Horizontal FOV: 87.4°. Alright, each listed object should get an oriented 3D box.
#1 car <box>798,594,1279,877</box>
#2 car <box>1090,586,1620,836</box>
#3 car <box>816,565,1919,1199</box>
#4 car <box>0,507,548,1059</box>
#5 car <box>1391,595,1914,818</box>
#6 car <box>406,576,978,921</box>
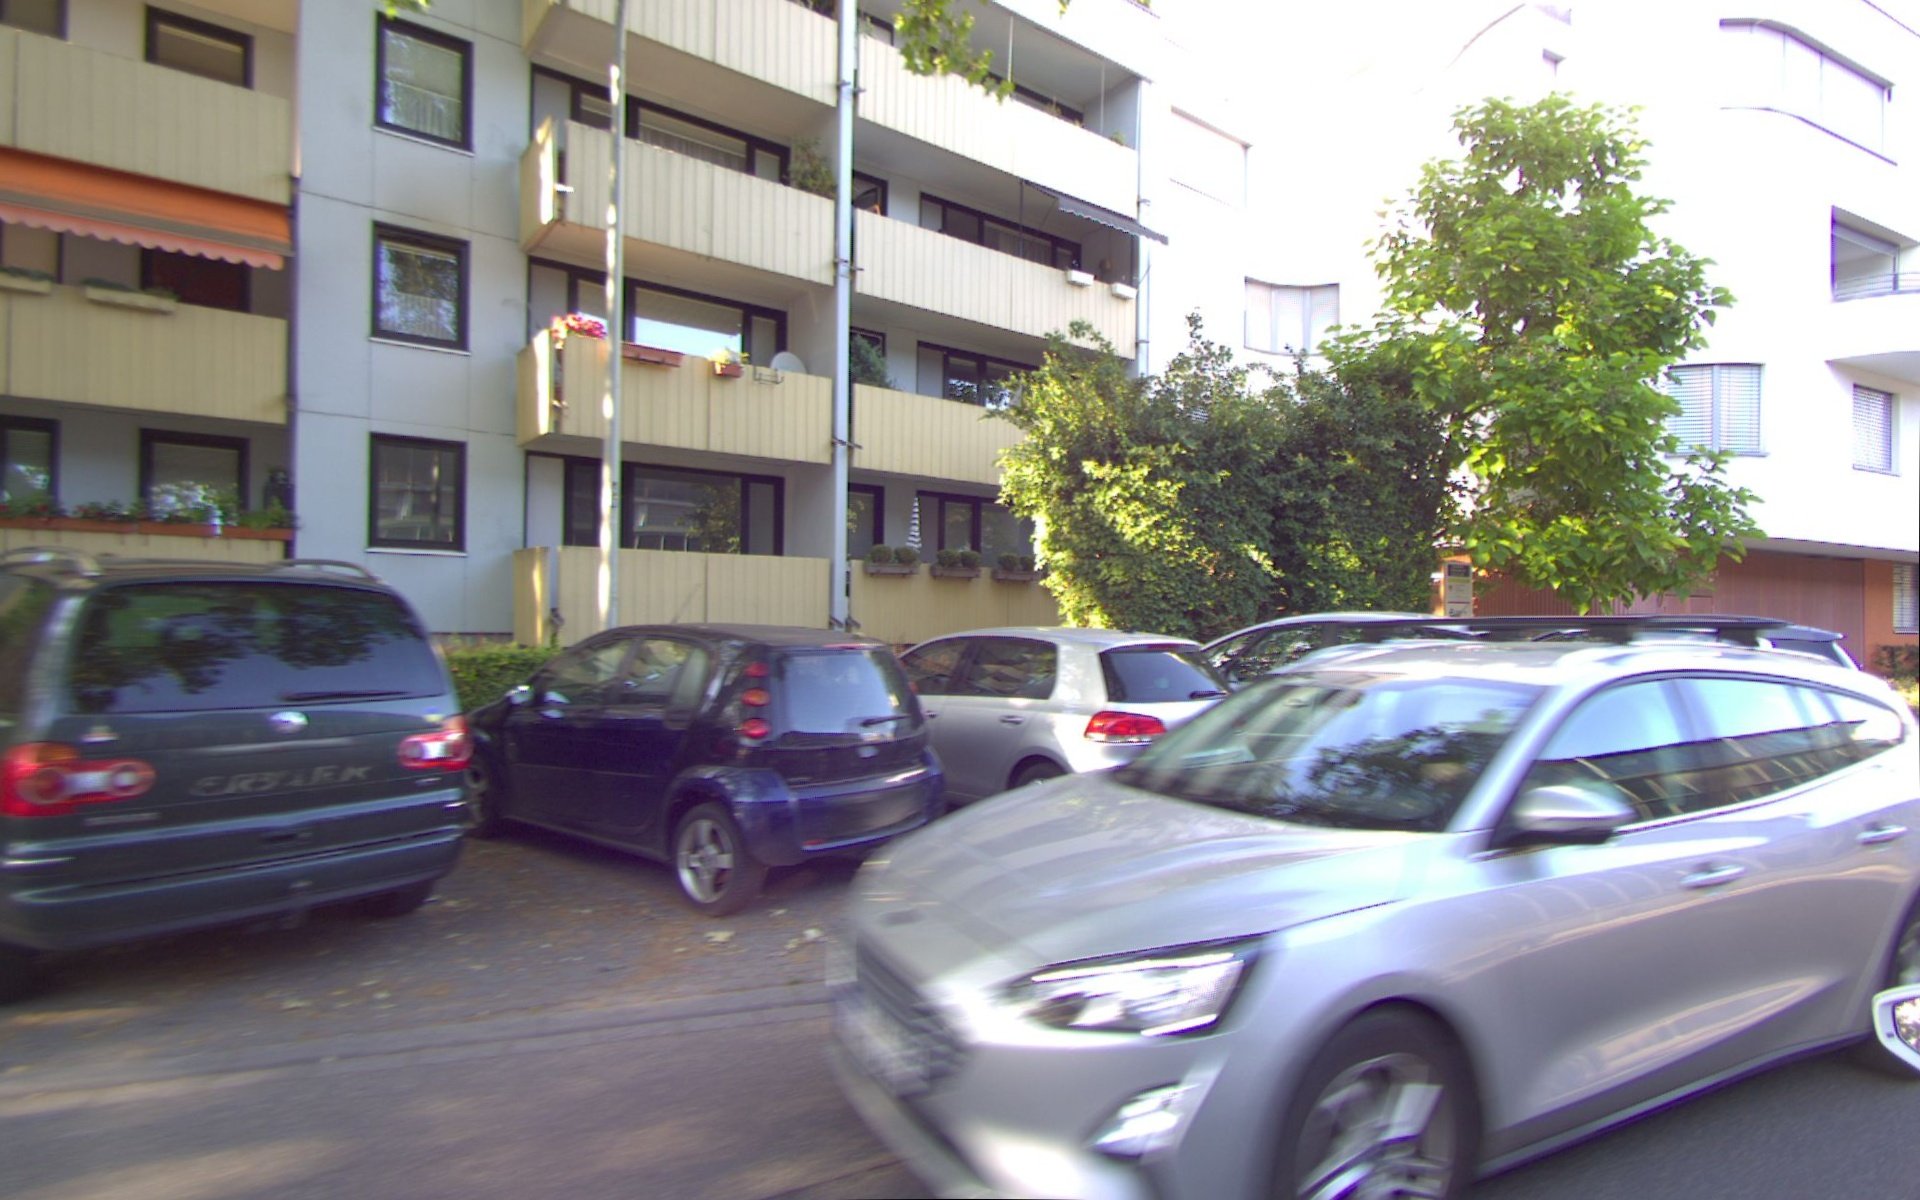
[{"bbox_3d":[0.413,0.815,7.855,1.686,1.581,3.607,2,0,-40],"label":"car"},{"bbox_3d":[3.414,0.786,9.036,4.073,1.662,1.770,2,0,37],"label":"car"},{"bbox_3d":[1.940,0.803,3.776,4.561,1.556,1.893,2,-2,-27],"label":"car"},{"bbox_3d":[-4.200,0.550,5.295,4.202,1.799,1.898,2,0,38],"label":"car"},{"bbox_3d":[6.534,0.875,9.932,3.892,1.684,1.695,2,0,34],"label":"car"},{"bbox_3d":[-1.857,0.705,6.563,3.590,1.581,1.694,2,0,36],"label":"car"}]
